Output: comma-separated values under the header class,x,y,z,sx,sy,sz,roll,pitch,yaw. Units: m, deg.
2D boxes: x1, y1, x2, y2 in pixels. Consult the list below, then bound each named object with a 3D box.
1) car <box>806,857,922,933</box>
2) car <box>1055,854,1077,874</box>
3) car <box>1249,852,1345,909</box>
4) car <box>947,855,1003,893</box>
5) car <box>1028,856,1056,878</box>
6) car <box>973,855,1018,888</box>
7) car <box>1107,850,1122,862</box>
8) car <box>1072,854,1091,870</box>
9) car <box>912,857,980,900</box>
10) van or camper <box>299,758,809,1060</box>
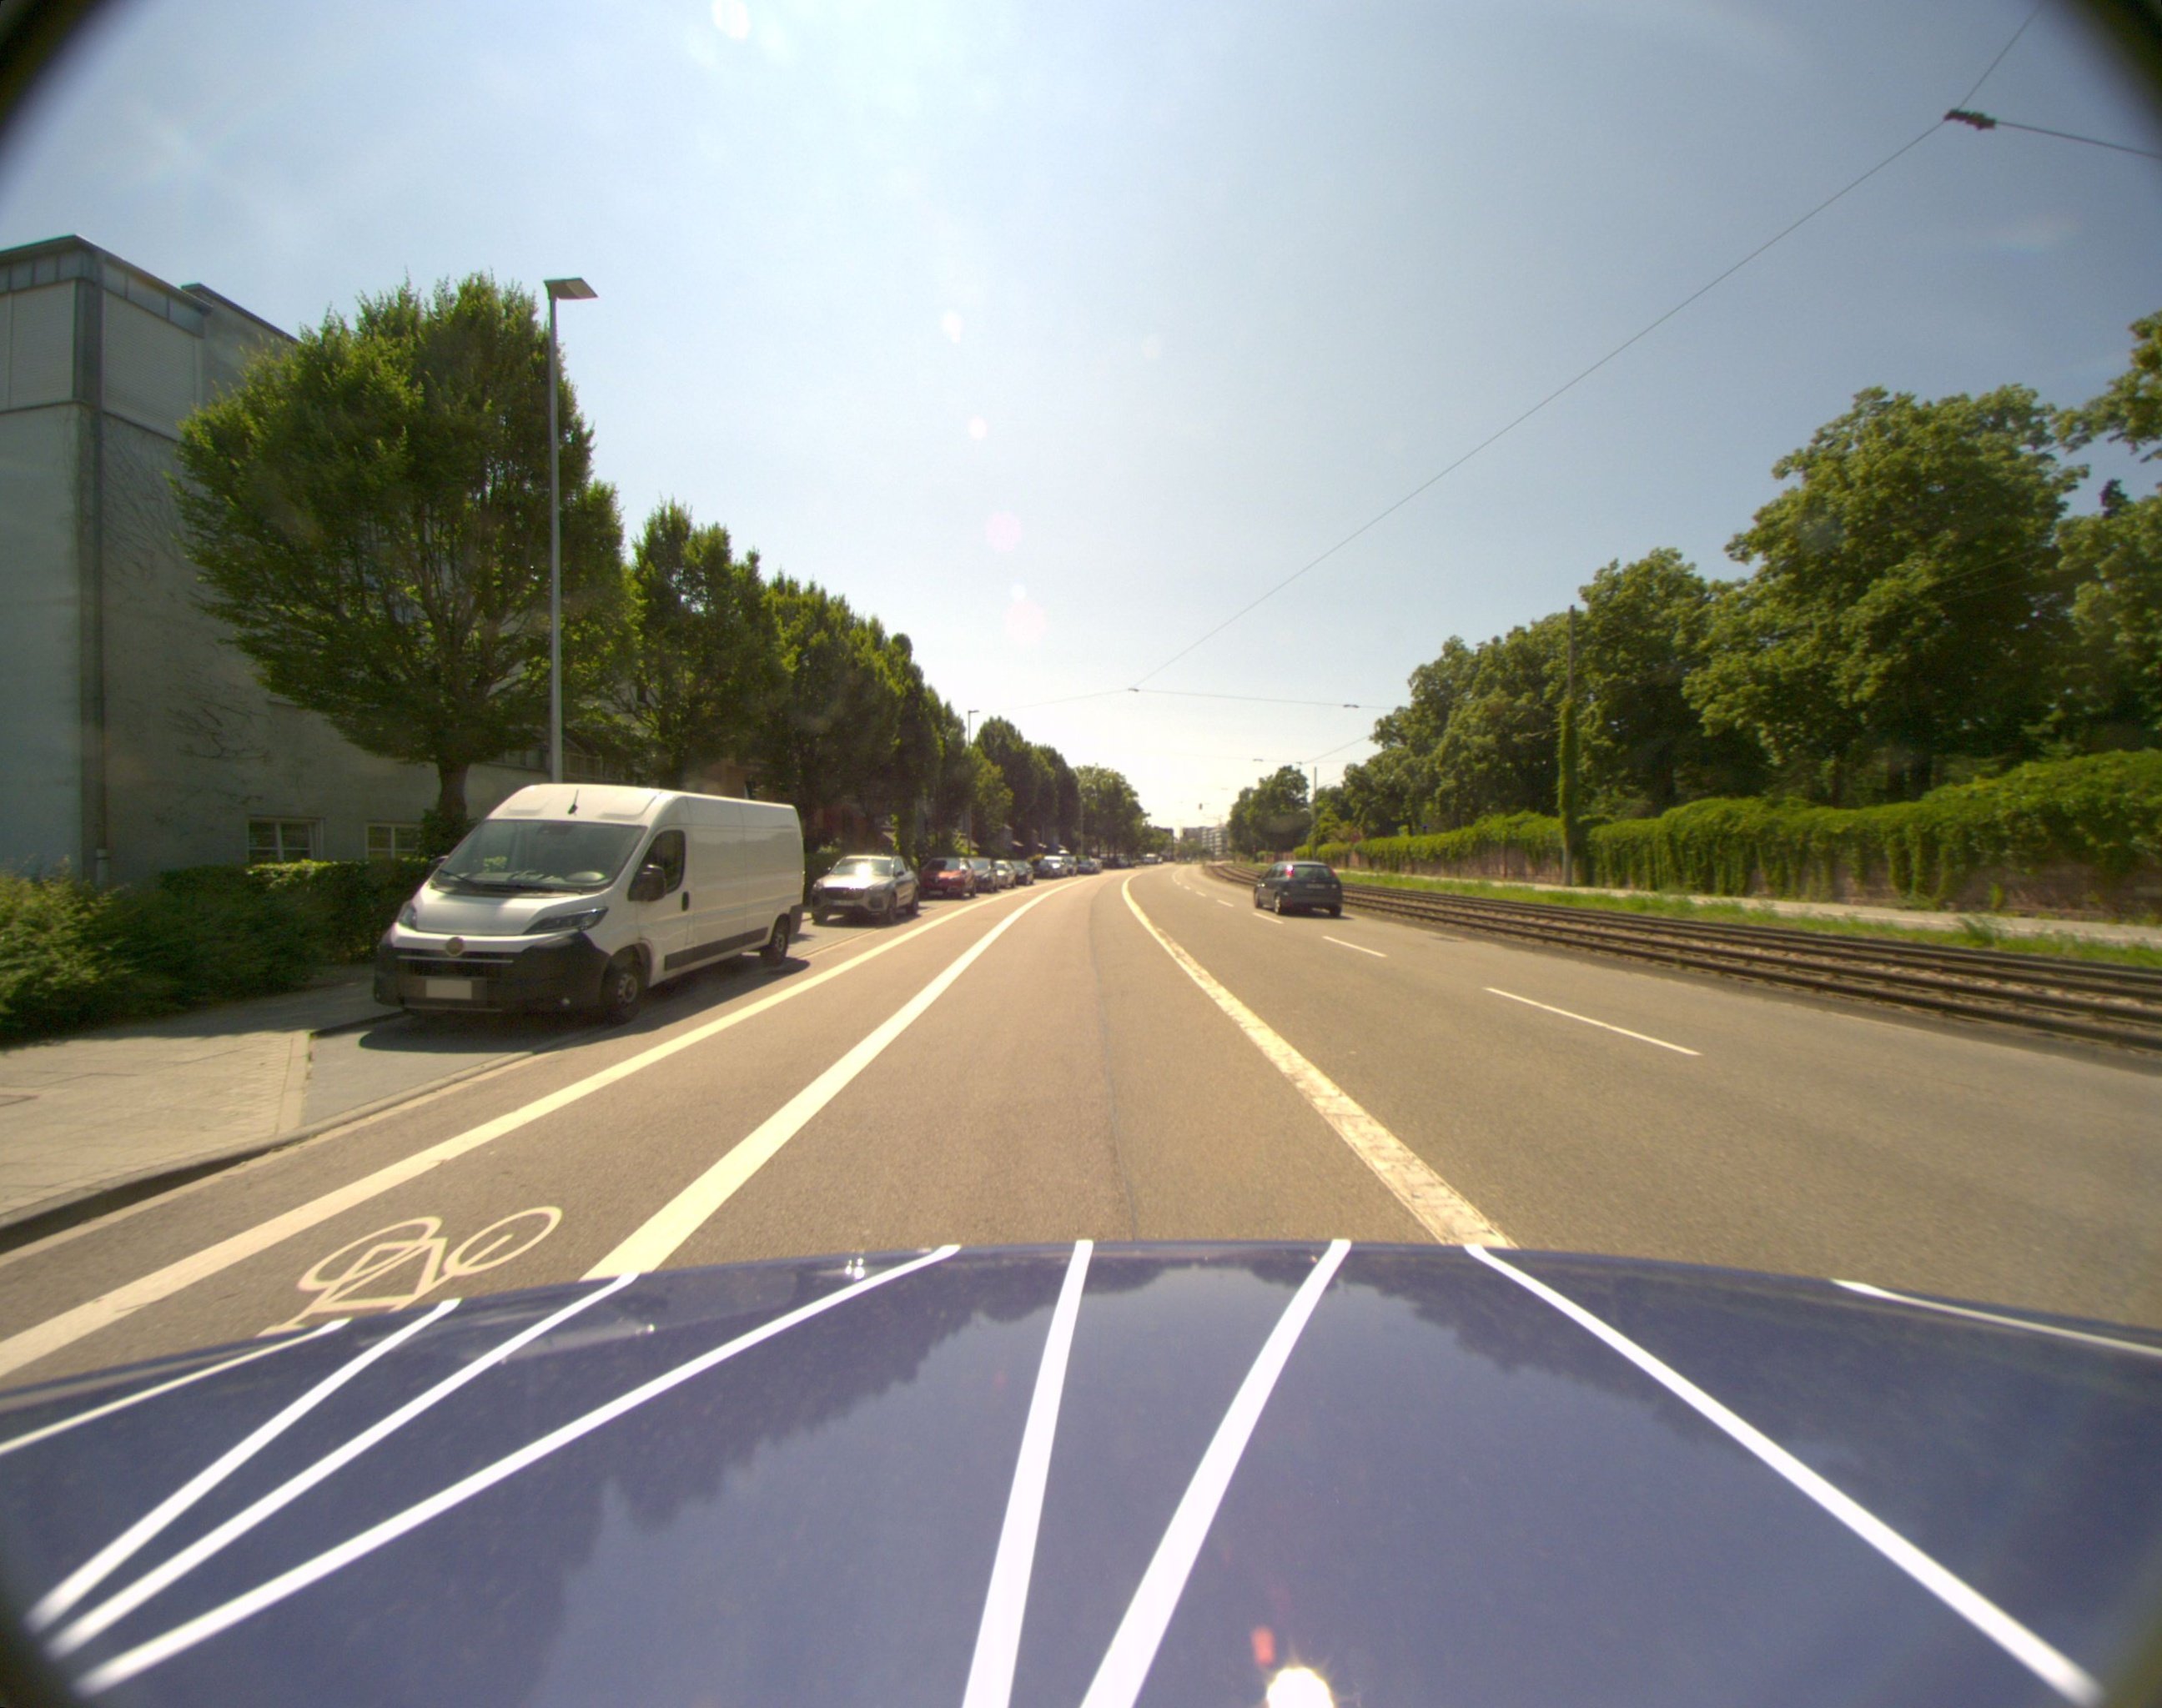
class,x,y,z,sx,sy,sz,roll,pitch,yaw
car,-5.352,0.936,19.280,1.828,1.624,3.999,3,0,-2
car,-1.350,0.913,69.622,1.907,1.707,4.000,-1,0,1
car,6.055,0.695,21.723,1.696,1.460,4.000,-1,0,2
car,-4.873,0.878,35.572,1.998,1.652,4.000,-1,0,1
car,-2.920,0.948,58.158,1.725,1.586,4.001,-1,0,3
car,-4.520,0.891,40.673,1.906,1.652,4.000,-1,0,1
car,4.811,0.256,109.164,1.998,1.718,4.000,-1,0,1
car,0.087,0.844,78.061,1.807,1.585,4.000,-1,0,1
car,-5.172,0.901,29.576,1.813,1.543,4.000,-1,0,2
van or camper,-5.506,0.463,9.391,2.126,2.469,5.992,2,0,-1
